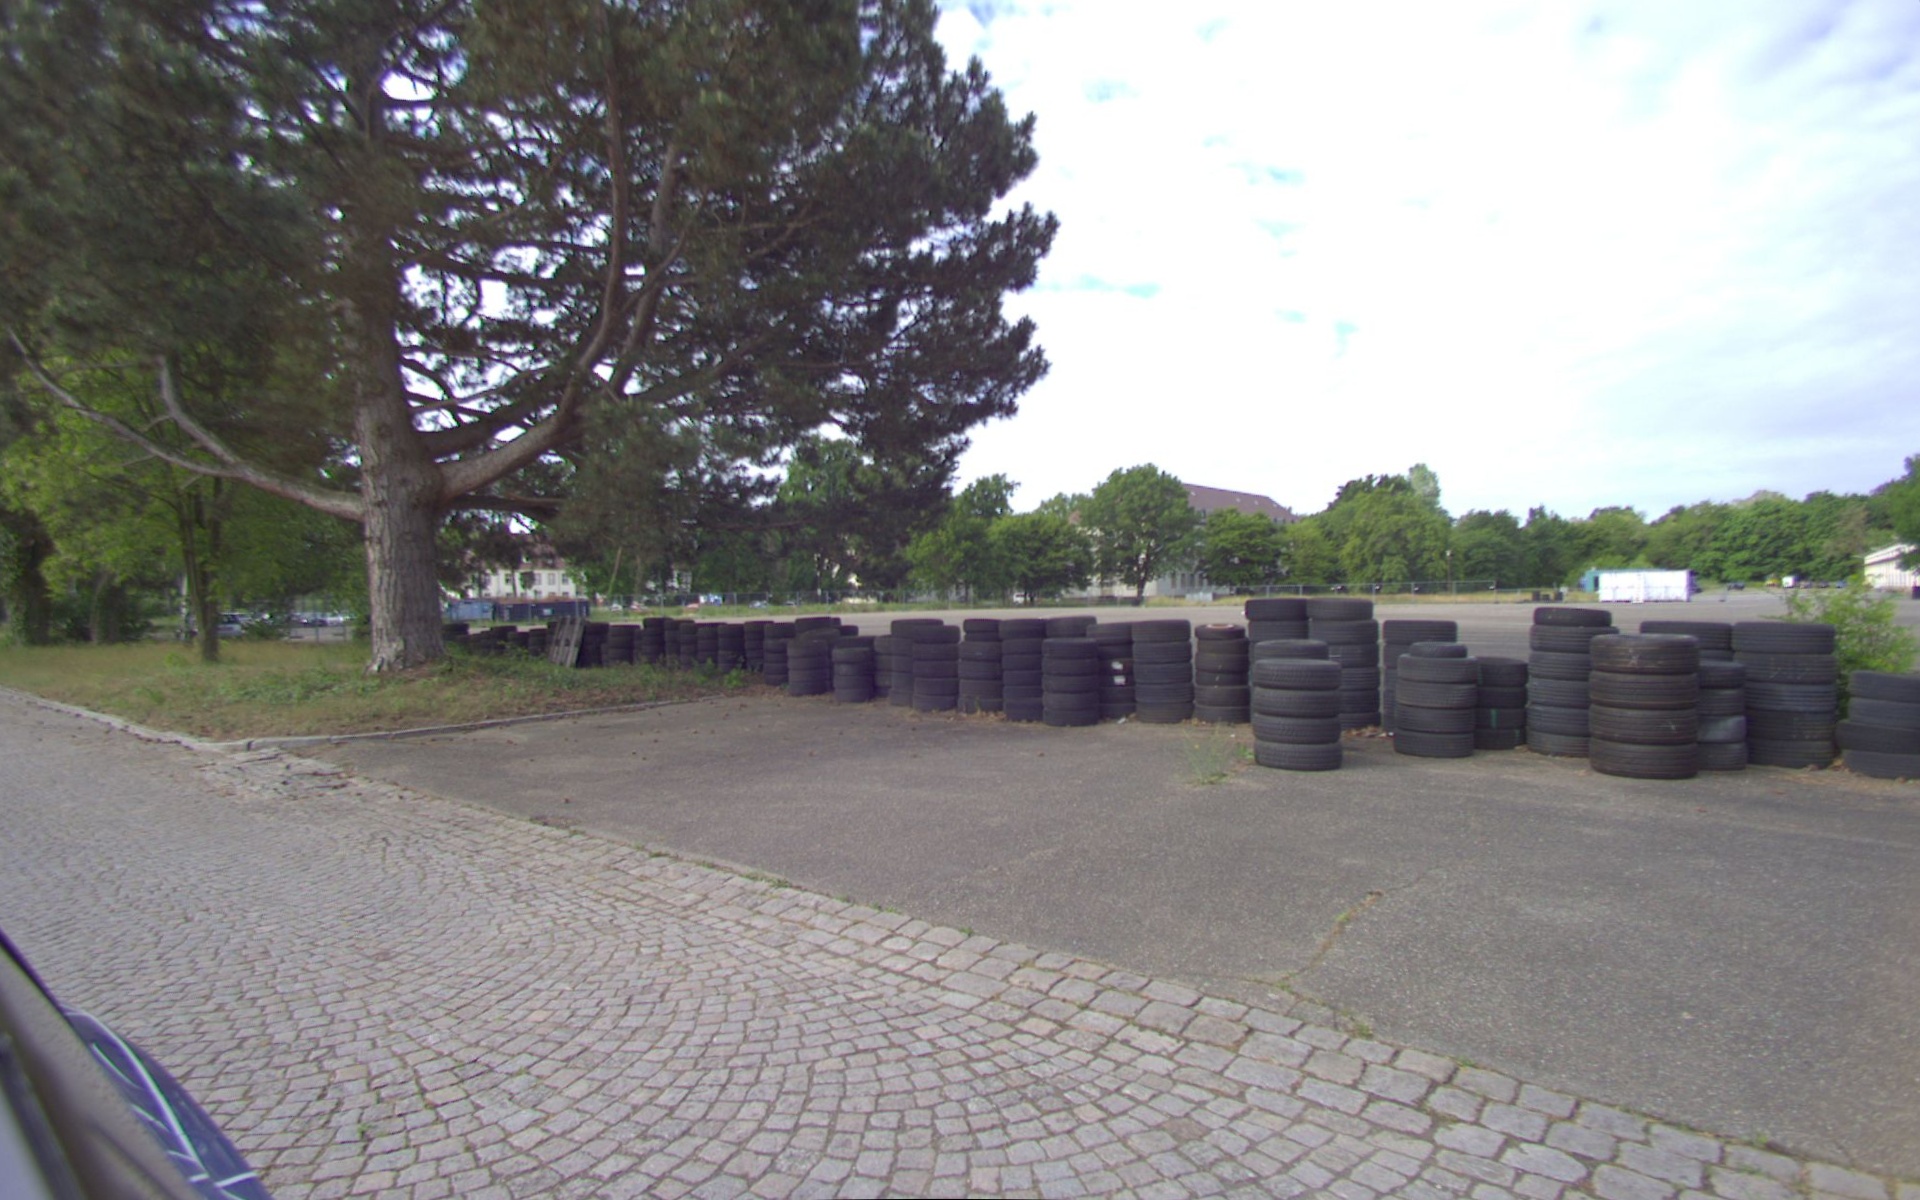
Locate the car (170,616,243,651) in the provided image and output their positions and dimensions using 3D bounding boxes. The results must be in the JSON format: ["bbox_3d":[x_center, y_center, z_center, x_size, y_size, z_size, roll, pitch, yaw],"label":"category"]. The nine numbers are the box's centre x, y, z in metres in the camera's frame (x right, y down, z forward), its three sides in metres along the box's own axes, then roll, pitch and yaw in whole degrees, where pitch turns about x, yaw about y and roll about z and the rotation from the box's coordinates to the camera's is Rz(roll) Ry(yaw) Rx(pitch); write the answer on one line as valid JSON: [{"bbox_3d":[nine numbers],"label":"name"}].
[{"bbox_3d":[-32.913,1.437,44.190,3.718,1.421,1.650,-1,0,38],"label":"car"}]

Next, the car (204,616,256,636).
[{"bbox_3d":[-55.012,1.961,76.276,4.446,1.460,1.975,-1,0,37],"label":"car"}]

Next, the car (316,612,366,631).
[{"bbox_3d":[-50.804,1.787,83.036,4.446,1.460,1.975,-1,0,37],"label":"car"}]

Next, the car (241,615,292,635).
[{"bbox_3d":[-53.788,1.907,78.488,4.446,1.460,1.975,-1,0,37],"label":"car"}]

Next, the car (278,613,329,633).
[{"bbox_3d":[-52.228,1.849,80.509,4.446,1.460,1.975,-1,0,37],"label":"car"}]
